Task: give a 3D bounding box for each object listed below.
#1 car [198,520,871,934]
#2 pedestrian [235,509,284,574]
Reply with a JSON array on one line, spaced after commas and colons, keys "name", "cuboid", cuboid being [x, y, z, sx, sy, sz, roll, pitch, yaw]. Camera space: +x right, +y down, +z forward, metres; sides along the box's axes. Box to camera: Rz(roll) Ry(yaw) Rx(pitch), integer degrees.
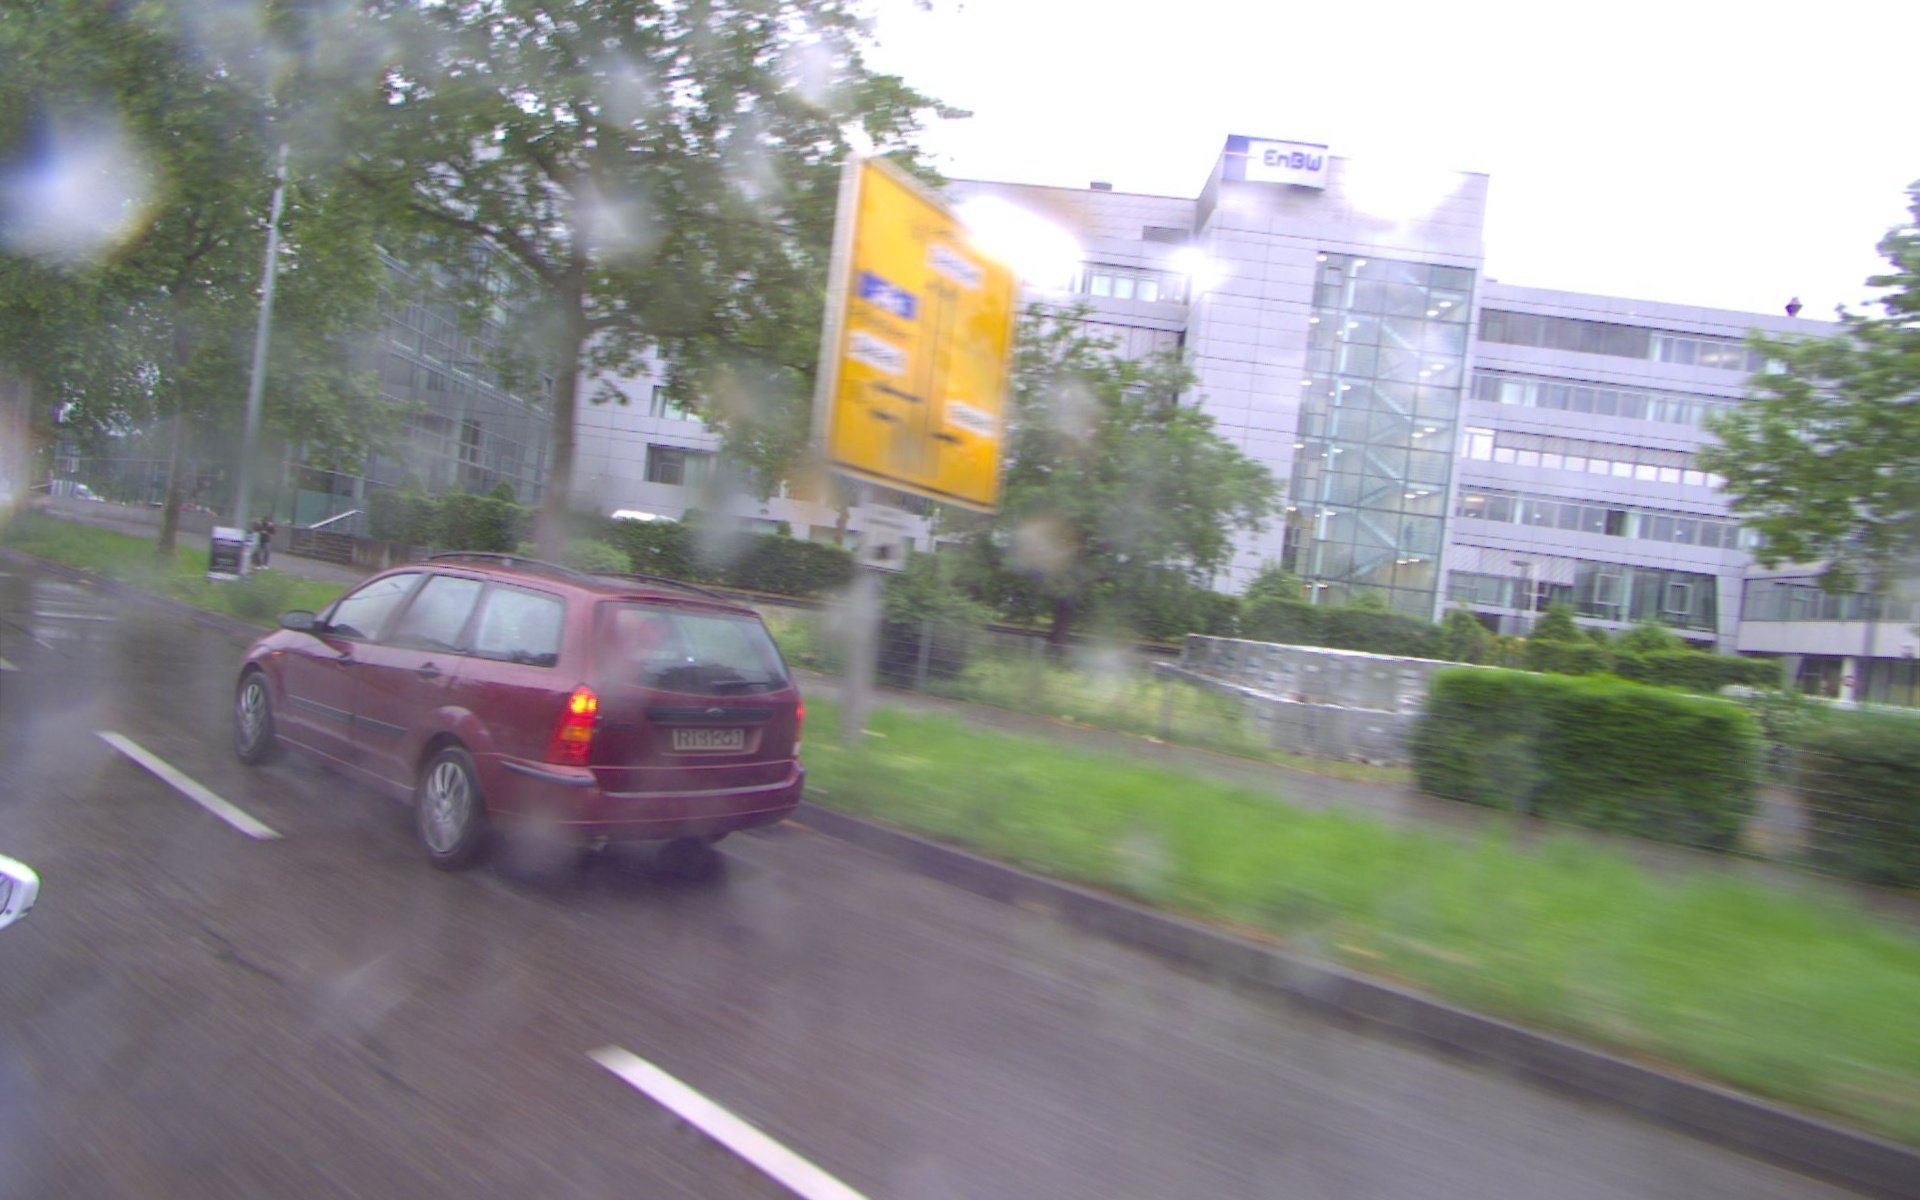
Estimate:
[{"name": "car", "cuboid": [-2.745, 0.531, 6.139, 4.048, 1.554, 1.840, 7, -2, 36]}, {"name": "pedestrian", "cuboid": [-20.985, -1.750, 30.132, 1.058, 1.783, 0.665, 7, 0, 31]}]
